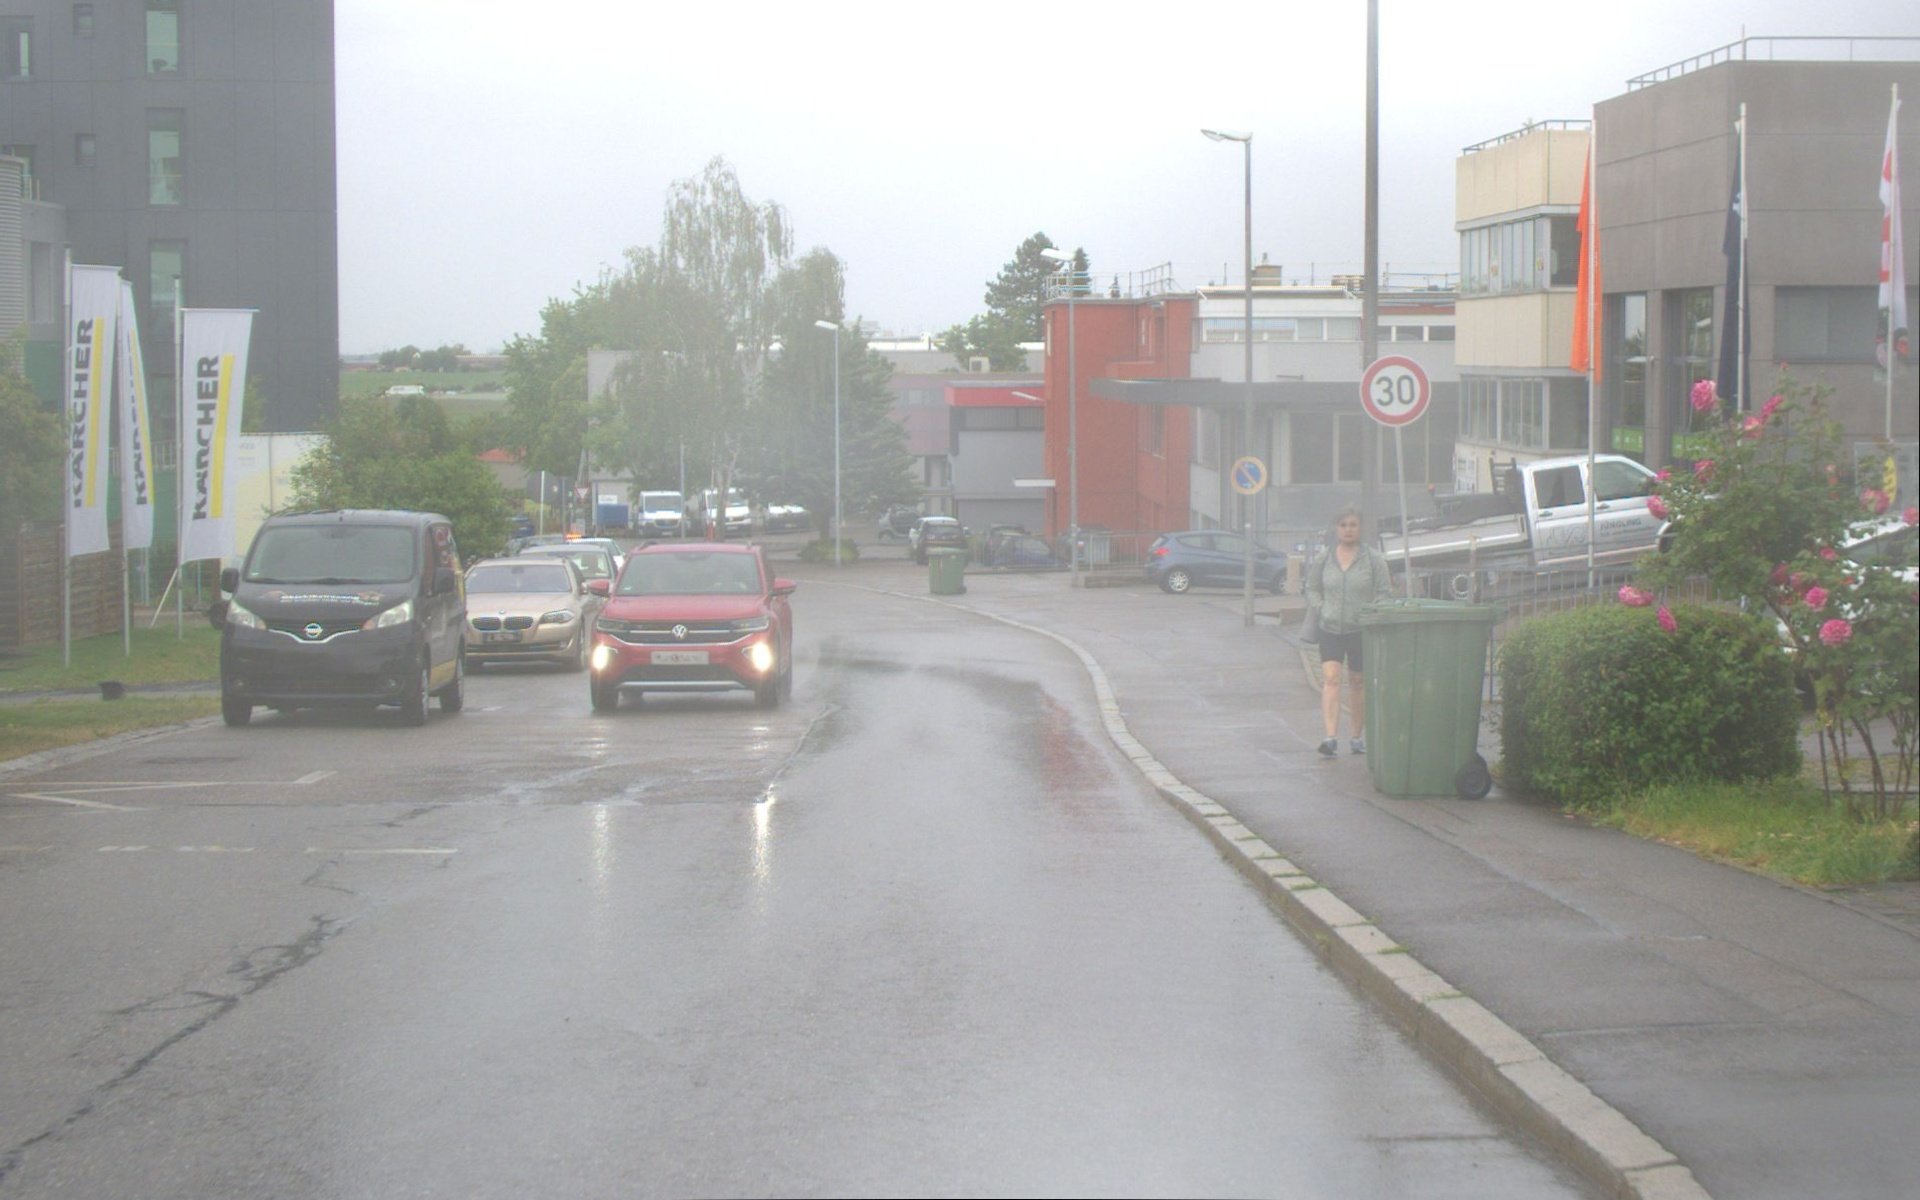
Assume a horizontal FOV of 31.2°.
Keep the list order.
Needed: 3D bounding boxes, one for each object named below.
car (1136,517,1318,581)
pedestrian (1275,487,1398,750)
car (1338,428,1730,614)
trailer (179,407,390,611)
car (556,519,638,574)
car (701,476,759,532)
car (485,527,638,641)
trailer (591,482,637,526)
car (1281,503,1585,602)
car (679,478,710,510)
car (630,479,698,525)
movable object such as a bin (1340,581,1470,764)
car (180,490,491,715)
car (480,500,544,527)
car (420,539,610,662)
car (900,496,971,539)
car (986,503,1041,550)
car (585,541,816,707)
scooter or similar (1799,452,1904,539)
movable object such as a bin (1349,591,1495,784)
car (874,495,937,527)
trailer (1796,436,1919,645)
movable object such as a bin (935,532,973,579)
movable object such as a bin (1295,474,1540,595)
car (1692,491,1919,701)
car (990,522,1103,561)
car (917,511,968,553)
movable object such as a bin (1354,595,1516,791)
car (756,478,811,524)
[{"bbox_3d":[6.047,-1.161,78.177,3.894,1.379,1.821,1,1,-2],"label":"car"},{"bbox_3d":[2.553,0.117,23.383,0.736,1.761,0.808,0,1,0],"label":"pedestrian"},{"bbox_3d":[8.631,-1.189,52.018,5.298,2.006,2.222,-8,1,-2],"label":"car"},{"bbox_3d":[-14.365,-1.904,73.015,4.182,4.188,2.002,0,1,37],"label":"trailer"},{"bbox_3d":[-10.506,-1.539,99.309,1.769,1.507,4.146,-2,1,-13],"label":"car"},{"bbox_3d":[-10.543,-4.370,157.355,2.192,2.451,4.001,-1,1,-10],"label":"car"},{"bbox_3d":[-5.912,-0.262,51.426,1.957,1.571,4.841,-2,1,-3],"label":"car"},{"bbox_3d":[-16.174,-4.477,160.753,1.852,2.006,4.001,-1,2,-10],"label":"trailer"},{"bbox_3d":[8.405,-0.861,61.323,5.091,1.608,1.925,-1,2,-2],"label":"car"},{"bbox_3d":[-12.595,-5.018,162.892,1.290,1.419,2.547,-1,1,-8],"label":"car"},{"bbox_3d":[-13.536,-4.463,156.826,2.264,2.007,4.001,-1,1,-17],"label":"car"},{"bbox_3d":[2.792,0.443,21.535,0.729,1.109,0.703,0,1,14],"label":"movable object such as a bin"},{"bbox_3d":[-5.414,-0.022,30.408,1.915,1.825,4.848,0,1,-1],"label":"car"},{"bbox_3d":[-26.316,-5.072,201.883,2.460,1.534,4.000,-1,1,-28],"label":"car"},{"bbox_3d":[-5.756,-0.039,45.052,1.956,1.456,5.248,-1,1,-2],"label":"car"},{"bbox_3d":[-0.945,-3.126,130.198,2.064,1.546,4.001,-1,1,-10],"label":"car"},{"bbox_3d":[1.896,-2.632,123.601,1.739,1.648,4.000,-1,1,-2],"label":"car"},{"bbox_3d":[-2.449,0.196,33.265,1.747,1.503,3.935,0,1,3],"label":"car"},{"bbox_3d":[13.830,-1.638,53.391,1.064,1.220,2.065,-4,3,1],"label":"scooter or similar"},{"bbox_3d":[2.621,0.490,19.563,0.743,1.063,0.637,0,1,0],"label":"movable object such as a bin"},{"bbox_3d":[-2.297,-3.747,144.789,2.547,1.347,1.242,-1,2,-7],"label":"car"},{"bbox_3d":[11.653,-0.787,41.789,1.887,2.408,4.309,-1,2,0],"label":"trailer"},{"bbox_3d":[-0.138,-1.069,82.310,0.806,1.089,0.709,-1,2,-7],"label":"movable object such as a bin"},{"bbox_3d":[8.398,-1.218,63.248,4.254,2.103,1.477,-1,2,-1],"label":"movable object such as a bin"},{"bbox_3d":[8.229,-0.117,27.704,4.120,1.568,2.004,-3,1,-2],"label":"car"},{"bbox_3d":[2.614,-1.792,105.002,3.400,1.159,1.792,0,2,0],"label":"car"},{"bbox_3d":[-0.641,-2.420,122.734,1.697,1.470,4.000,-1,1,-2],"label":"car"},{"bbox_3d":[2.592,0.497,18.827,0.771,1.026,0.808,0,1,0],"label":"movable object such as a bin"},{"bbox_3d":[-8.145,-4.560,158.412,2.145,2.007,3.940,-1,1,-8],"label":"car"}]
